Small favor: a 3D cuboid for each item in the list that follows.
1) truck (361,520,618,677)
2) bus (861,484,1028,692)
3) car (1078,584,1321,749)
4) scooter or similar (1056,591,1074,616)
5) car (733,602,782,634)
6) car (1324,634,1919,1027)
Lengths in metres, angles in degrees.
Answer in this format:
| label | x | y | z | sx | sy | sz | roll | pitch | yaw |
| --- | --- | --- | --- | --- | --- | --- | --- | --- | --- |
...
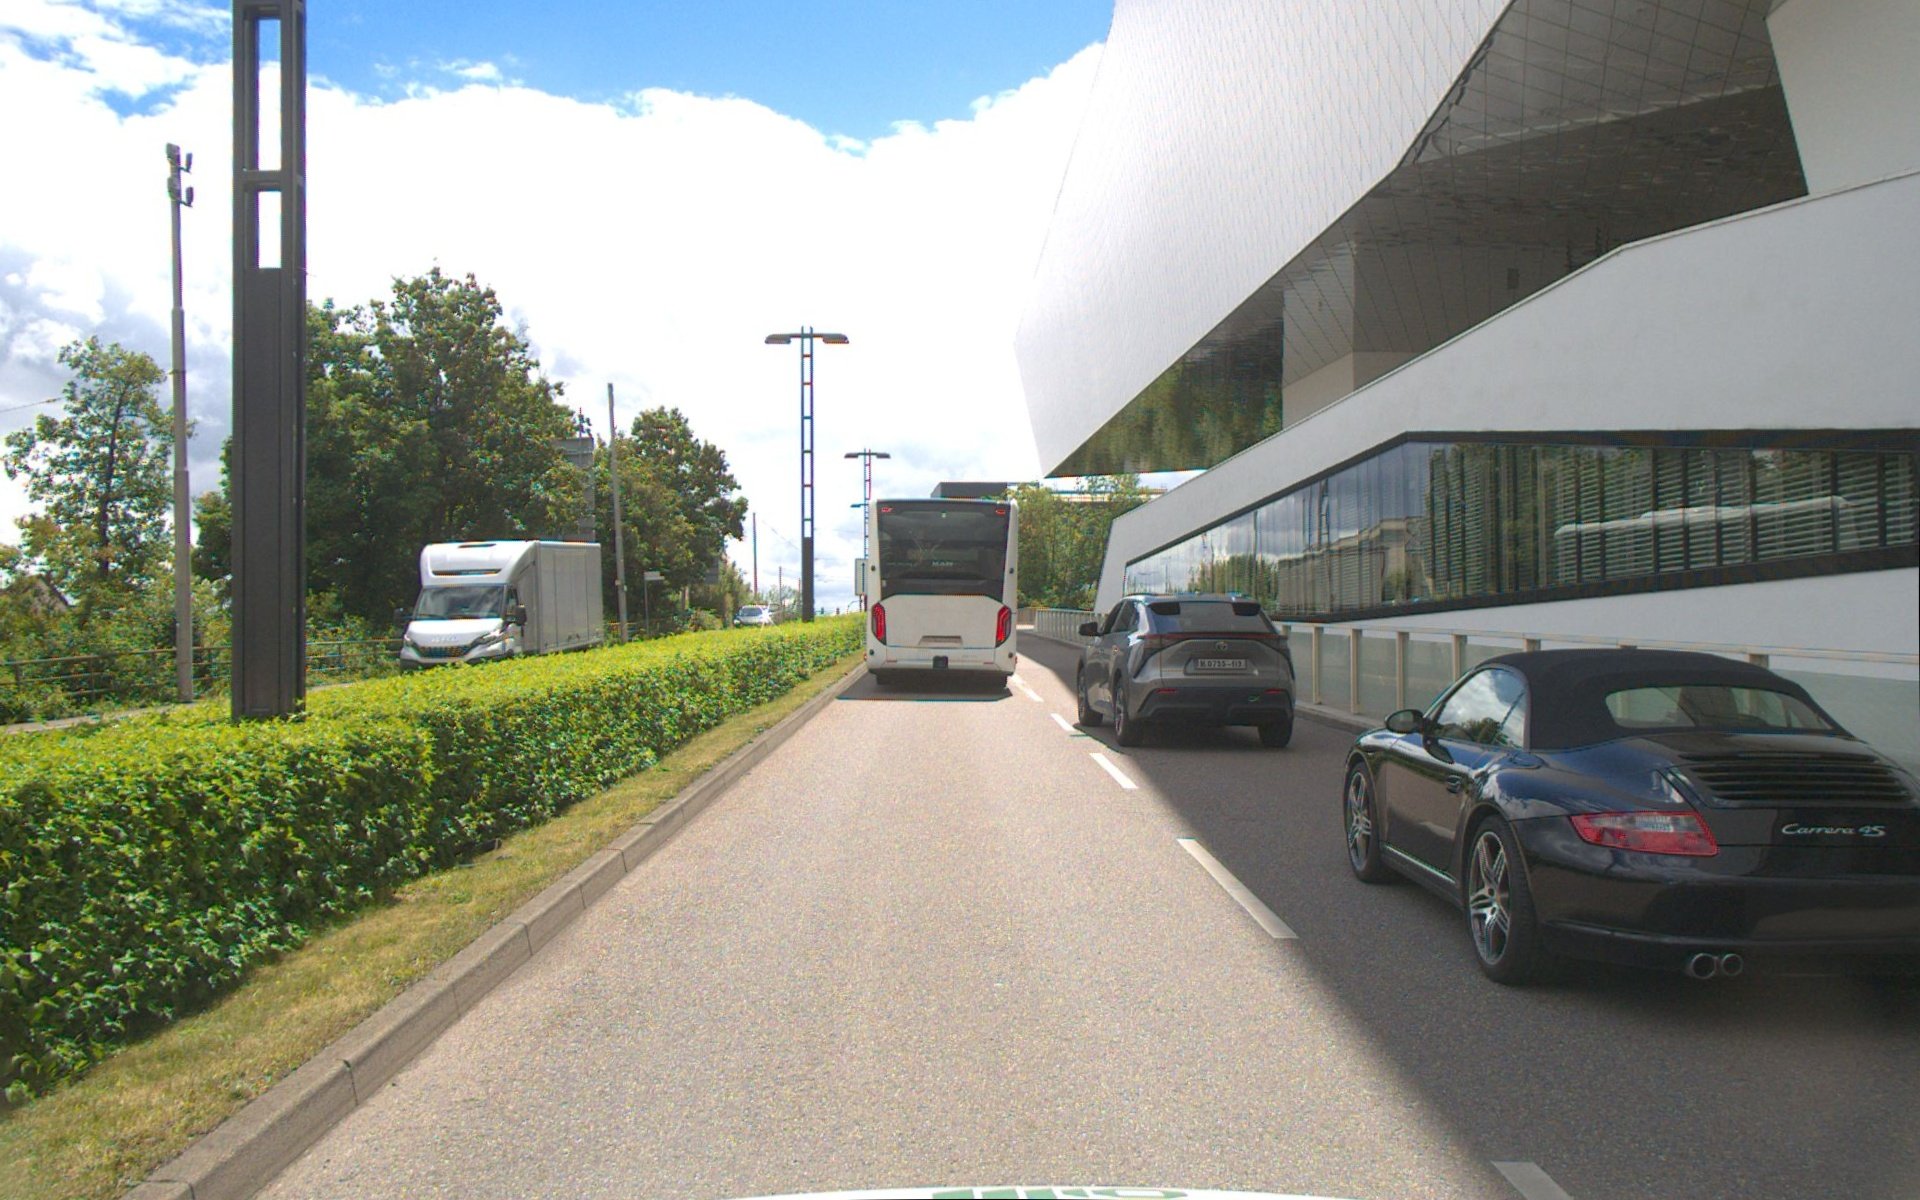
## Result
| label | x | y | z | sx | sy | sz | roll | pitch | yaw |
| --- | --- | --- | --- | --- | --- | --- | --- | --- | --- |
| truck | -9.789 | -0.127 | 35.699 | 2.797 | 2.907 | 9.377 | -1 | 1 | 0 |
| bus | -0.320 | -0.225 | 32.734 | 2.634 | 3.312 | 12.055 | 1 | 0 | -1 |
| car | 2.543 | 0.695 | 18.572 | 1.842 | 1.622 | 4.226 | 1 | -1 | -4 |
| scooter or similar | 5.412 | 0.205 | 85.335 | 0.640 | 1.235 | 1.856 | -1 | -1 | -5 |
| car | -10.091 | 0.879 | 82.556 | 1.802 | 1.534 | 4.561 | -1 | 0 | 0 |
| car | 3.016 | 0.826 | 7.670 | 1.685 | 1.297 | 4.086 | 0 | -1 | -1 |
